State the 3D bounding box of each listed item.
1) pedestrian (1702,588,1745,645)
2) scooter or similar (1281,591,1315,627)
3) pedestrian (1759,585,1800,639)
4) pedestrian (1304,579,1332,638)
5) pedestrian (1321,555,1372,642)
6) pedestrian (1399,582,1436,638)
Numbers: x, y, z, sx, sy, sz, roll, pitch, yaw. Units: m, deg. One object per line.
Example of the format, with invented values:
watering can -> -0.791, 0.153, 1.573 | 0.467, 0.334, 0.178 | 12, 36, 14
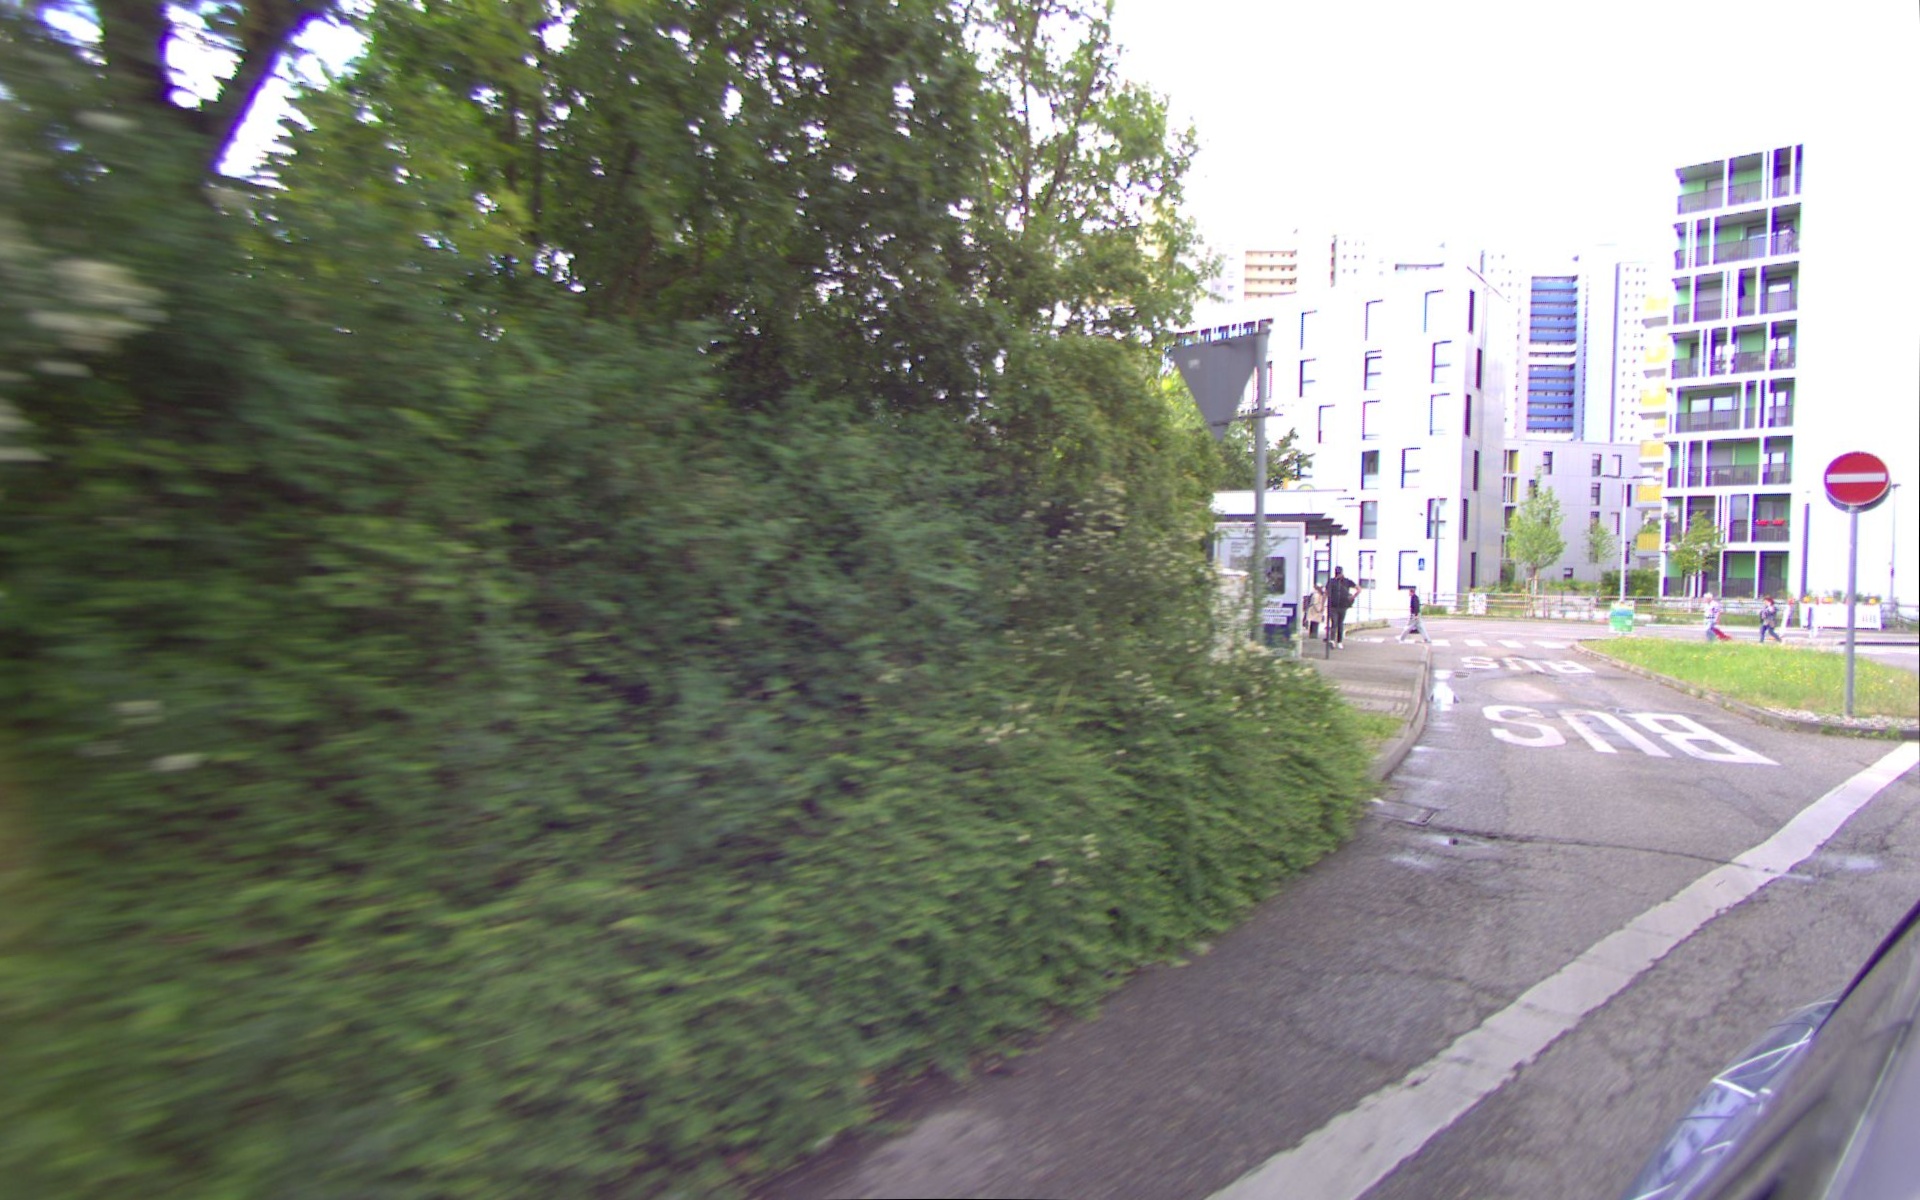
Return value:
pedestrian -> 23.220, 0.504, 30.776 | 0.684, 1.653, 0.724 | -1, 4, -22
scooter or similar -> 12.924, 0.342, 38.715 | 0.609, 1.290, 1.498 | 0, 2, -8
pedestrian -> 24.630, 0.335, 30.412 | 0.678, 1.586, 0.733 | 0, 1, -29
pedestrian -> 10.025, 0.219, 28.351 | 0.678, 1.614, 0.767 | 1, 1, 18
pedestrian -> 8.354, -0.030, 21.930 | 0.843, 1.845, 0.981 | 1, -1, 10
pedestrian -> 14.830, 0.319, 32.828 | 1.051, 1.769, 0.949 | 1, 1, 26
